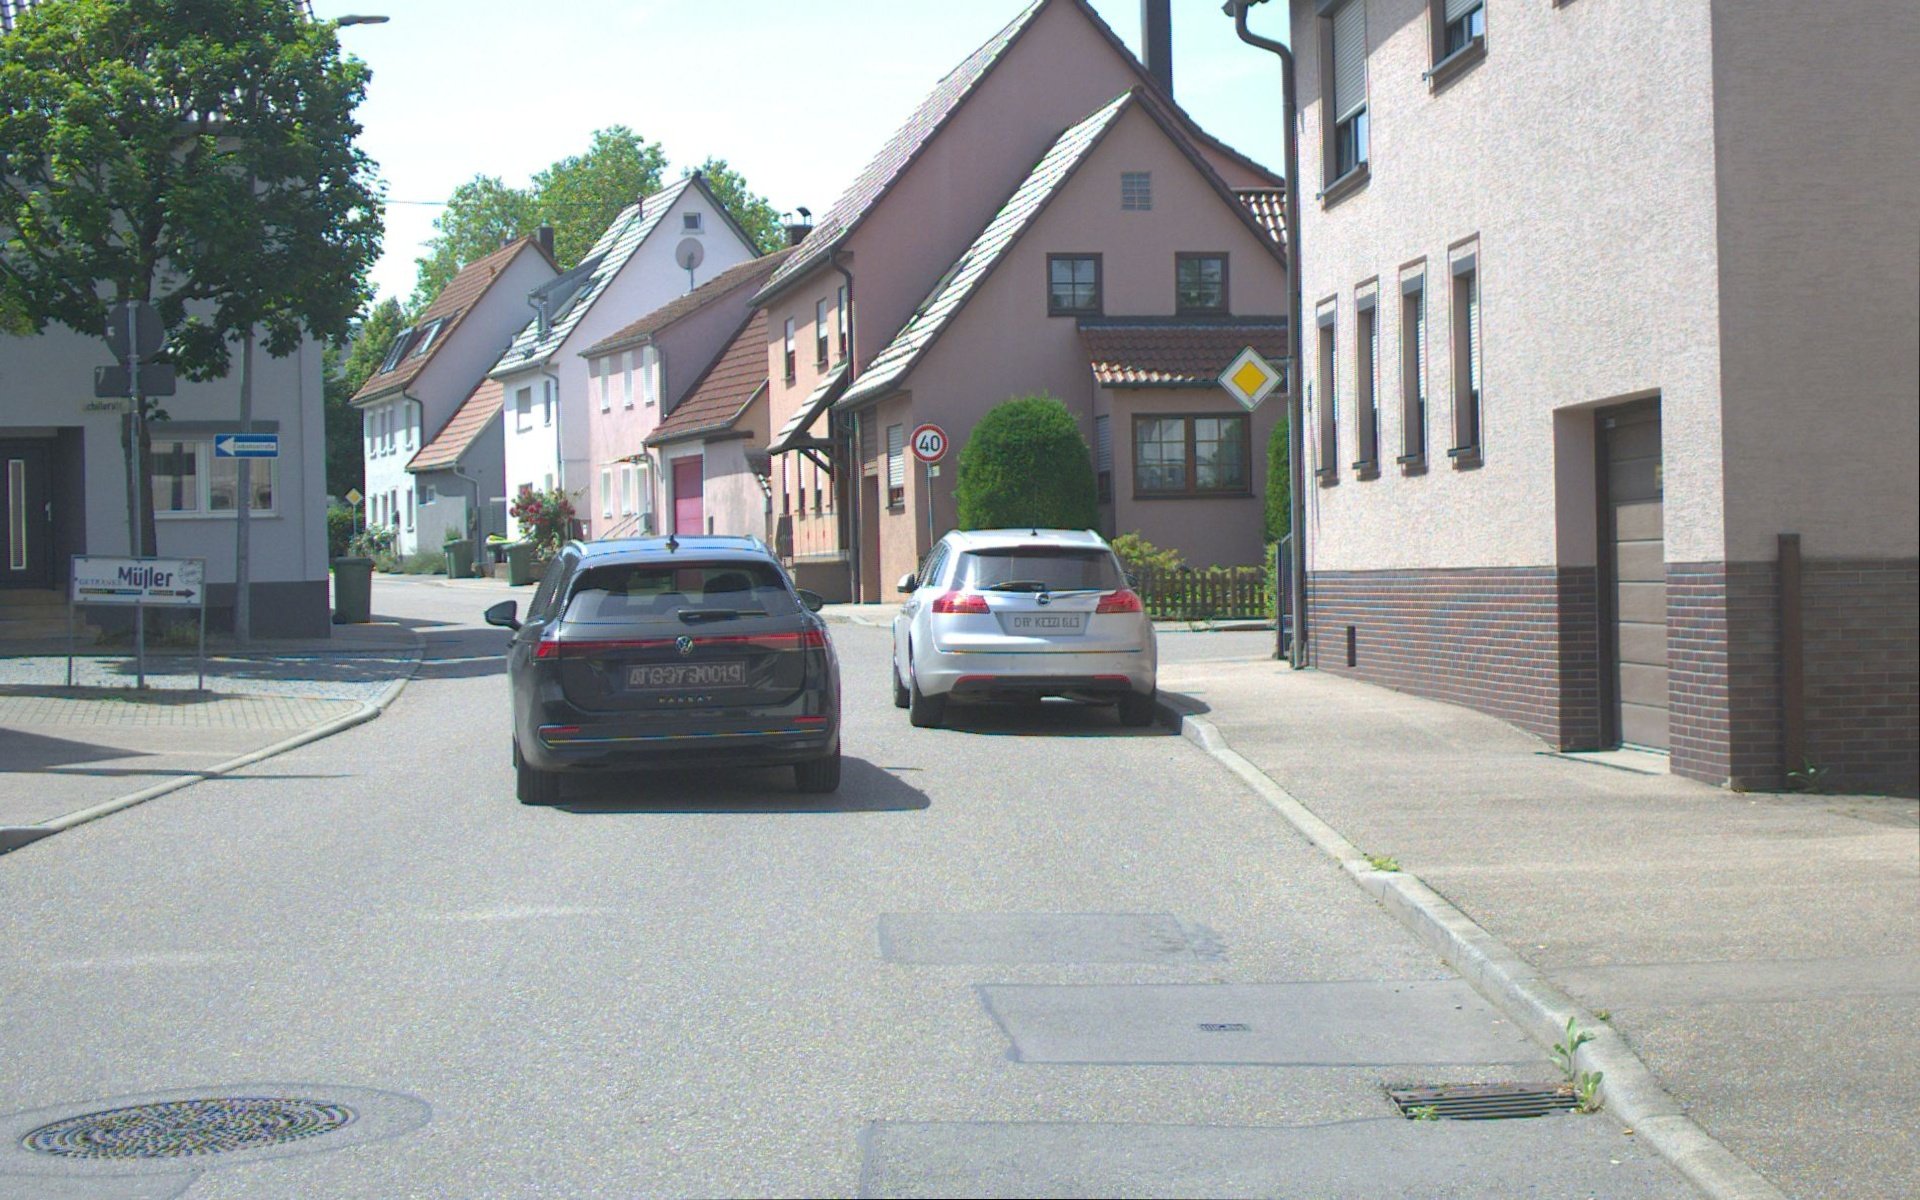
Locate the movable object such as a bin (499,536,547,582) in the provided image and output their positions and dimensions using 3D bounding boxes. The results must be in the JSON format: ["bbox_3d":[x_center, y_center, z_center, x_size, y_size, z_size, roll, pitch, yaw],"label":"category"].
[{"bbox_3d":[-10.990,-1.027,86.464,0.876,1.070,0.873,-7,3,-23],"label":"movable object such as a bin"}]

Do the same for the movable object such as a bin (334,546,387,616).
[{"bbox_3d":[-9.331,-0.305,53.481,0.753,1.056,0.680,-1,2,-12],"label":"movable object such as a bin"}]

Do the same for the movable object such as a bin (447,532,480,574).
[{"bbox_3d":[-13.773,-1.300,95.350,0.678,1.151,0.820,-1,1,-23],"label":"movable object such as a bin"}]

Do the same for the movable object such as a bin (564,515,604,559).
[{"bbox_3d":[-9.390,-1.570,85.835,0.678,1.046,0.835,-7,3,-23],"label":"movable object such as a bin"}]

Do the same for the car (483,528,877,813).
[{"bbox_3d":[-1.763,0.313,20.135,1.841,1.415,4.684,-1,2,-10],"label":"car"}]

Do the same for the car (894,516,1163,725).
[{"bbox_3d":[0.447,0.092,26.600,1.785,1.437,4.338,-1,2,-3],"label":"car"}]
